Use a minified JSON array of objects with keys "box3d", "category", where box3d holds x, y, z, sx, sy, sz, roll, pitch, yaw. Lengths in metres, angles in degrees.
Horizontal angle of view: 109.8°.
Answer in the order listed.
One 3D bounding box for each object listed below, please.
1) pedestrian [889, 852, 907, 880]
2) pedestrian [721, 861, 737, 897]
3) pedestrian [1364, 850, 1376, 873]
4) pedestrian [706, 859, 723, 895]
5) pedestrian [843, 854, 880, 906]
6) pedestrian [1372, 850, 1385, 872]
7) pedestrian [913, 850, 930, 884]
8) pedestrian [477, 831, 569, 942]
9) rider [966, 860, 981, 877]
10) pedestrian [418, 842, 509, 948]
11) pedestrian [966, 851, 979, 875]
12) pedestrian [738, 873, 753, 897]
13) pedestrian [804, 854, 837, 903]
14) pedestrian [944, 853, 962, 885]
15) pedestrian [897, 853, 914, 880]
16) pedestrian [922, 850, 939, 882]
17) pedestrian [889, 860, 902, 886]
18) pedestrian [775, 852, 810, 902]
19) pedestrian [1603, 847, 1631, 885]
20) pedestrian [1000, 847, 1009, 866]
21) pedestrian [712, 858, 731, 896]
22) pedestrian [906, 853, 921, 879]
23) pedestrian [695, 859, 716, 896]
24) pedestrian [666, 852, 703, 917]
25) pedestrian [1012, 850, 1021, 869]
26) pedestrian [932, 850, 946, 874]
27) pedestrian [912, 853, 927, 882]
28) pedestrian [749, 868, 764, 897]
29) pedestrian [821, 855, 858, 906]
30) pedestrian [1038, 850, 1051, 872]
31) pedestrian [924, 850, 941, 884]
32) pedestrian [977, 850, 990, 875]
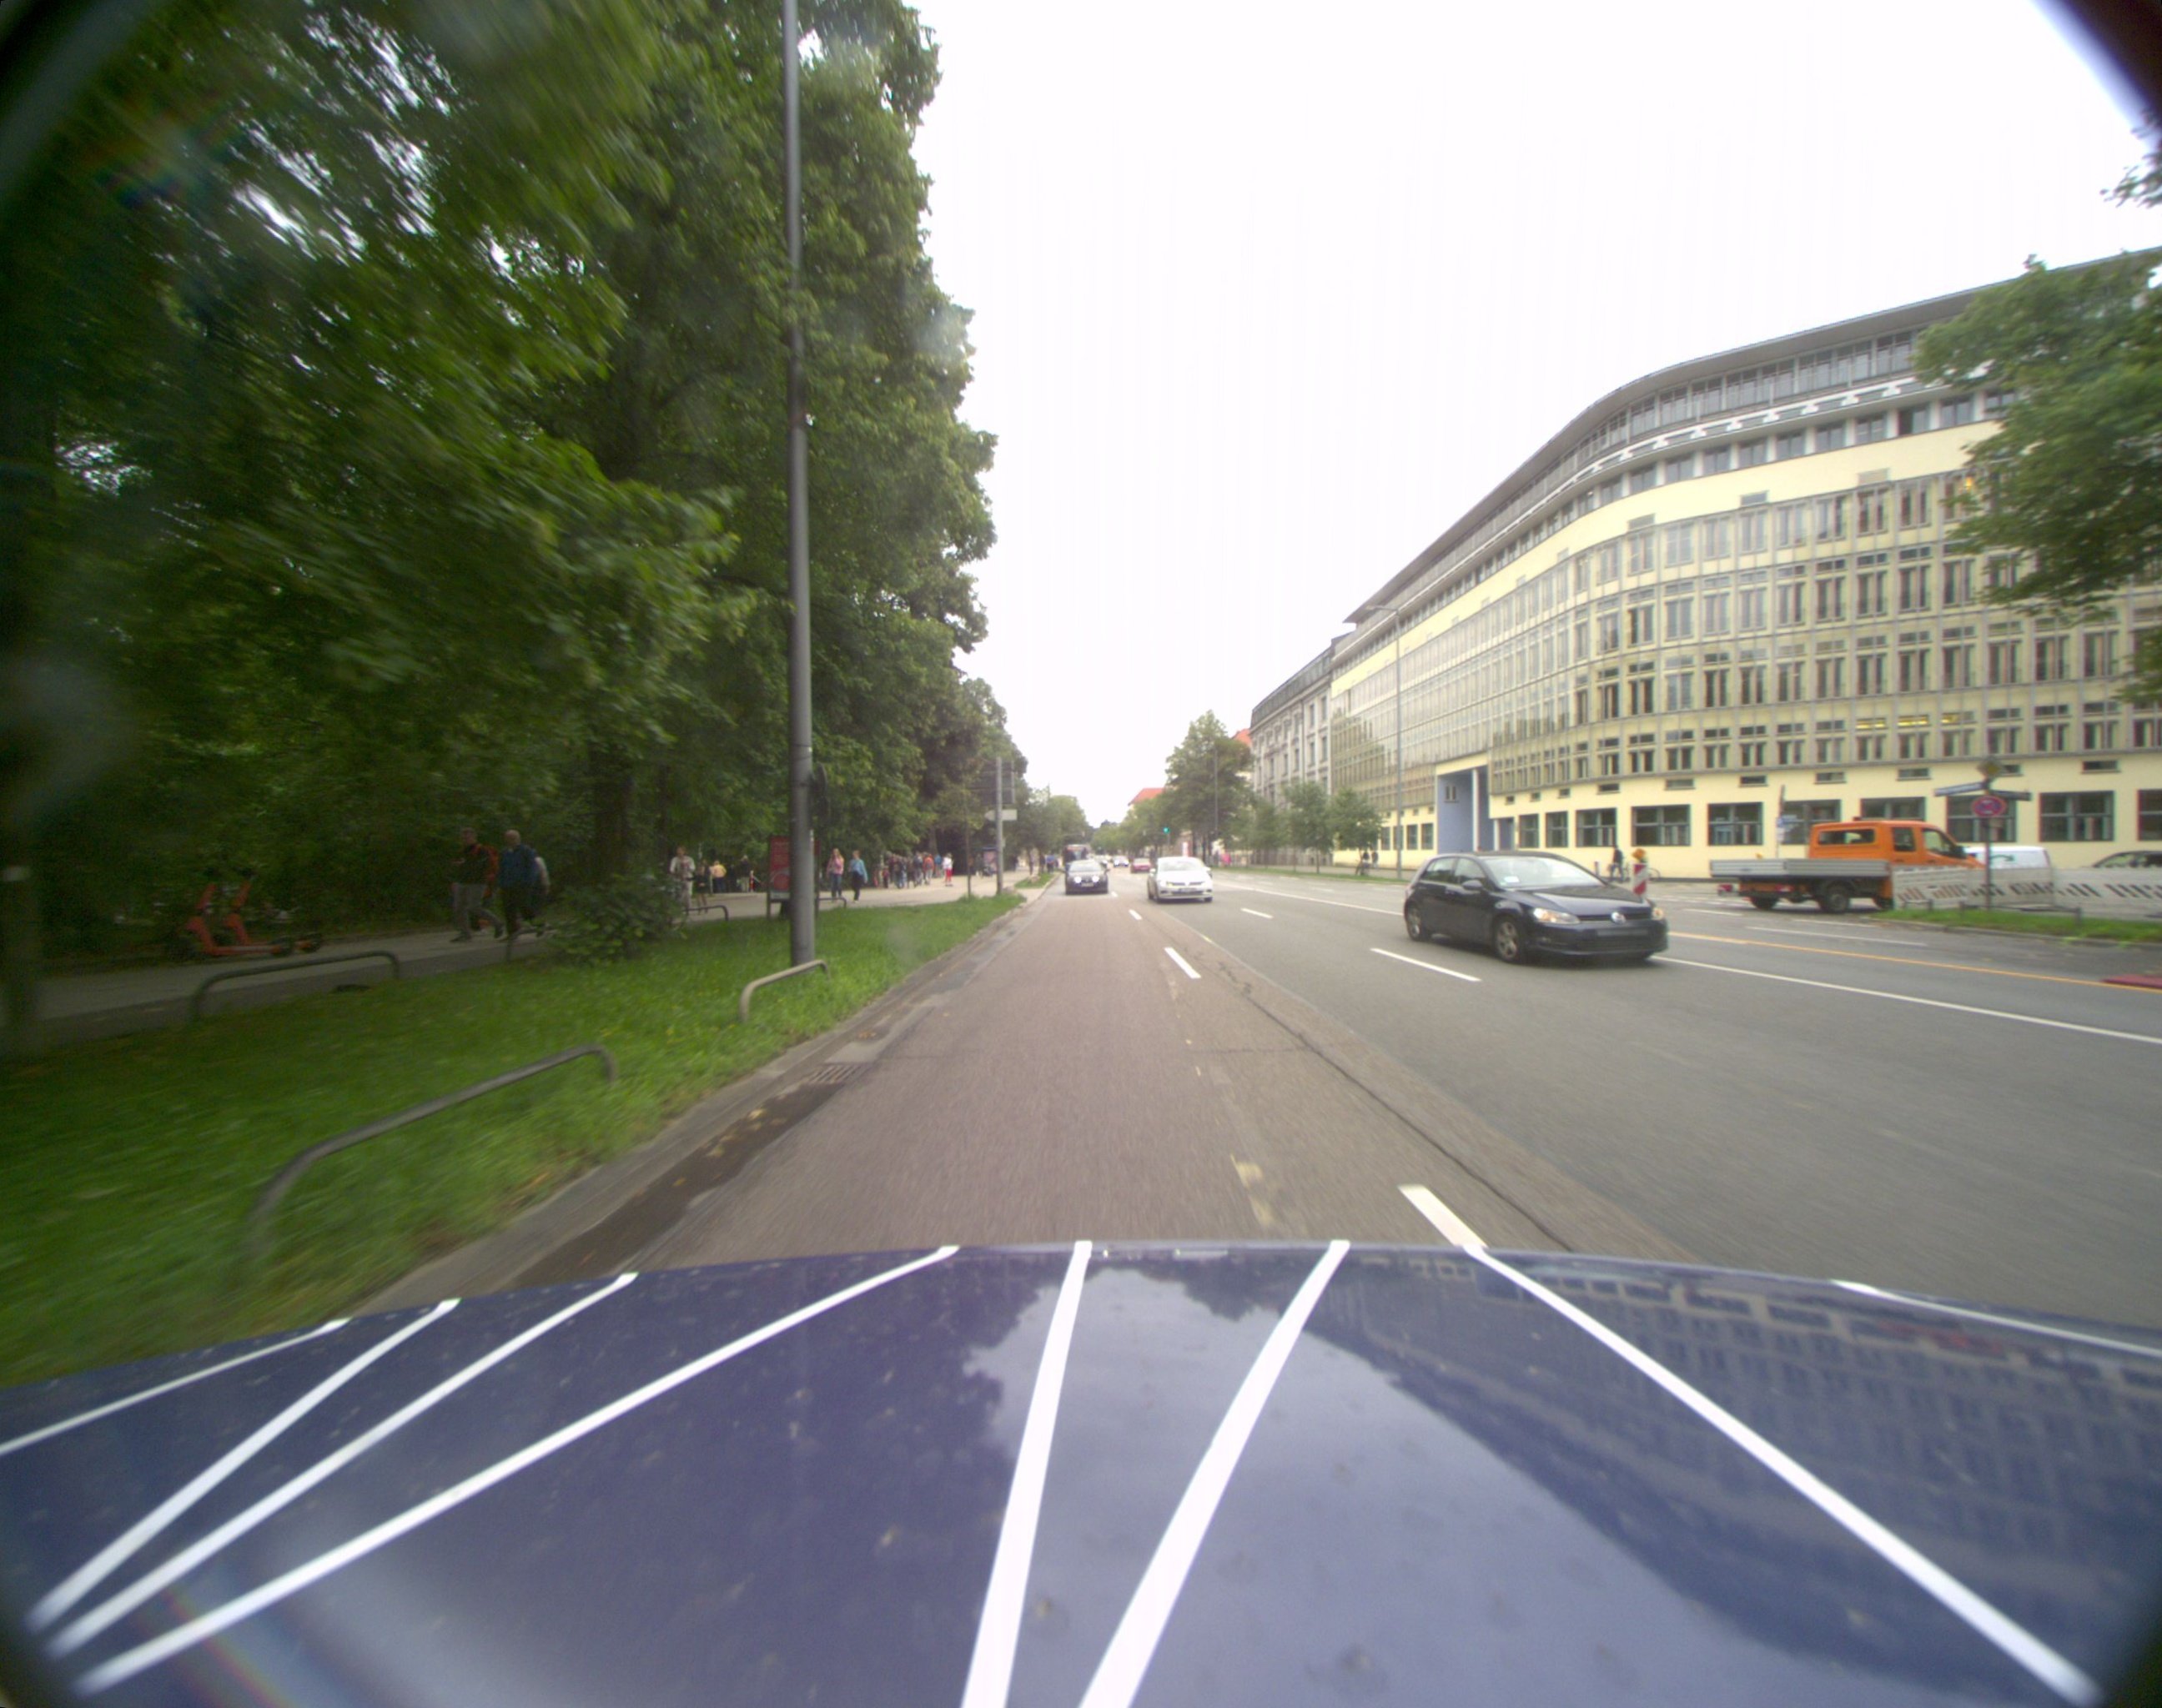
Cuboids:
[{"box3d":[-11.004,0.708,45.628,0.814,1.681,0.729,-2,1,2],"category":"pedestrian"},{"box3d":[-17.148,1.218,37.030,0.407,1.753,0.519,-2,1,22],"category":"pedestrian"},{"box3d":[23.249,0.603,61.066,0.617,1.766,0.836,-2,1,0],"category":"pedestrian"},{"box3d":[-17.848,1.121,37.004,0.526,1.753,0.437,-2,1,22],"category":"pedestrian"},{"box3d":[-7.106,0.828,24.616,0.755,1.634,0.851,-2,1,15],"category":"pedestrian"},{"box3d":[23.896,0.572,61.069,0.617,1.766,0.836,-2,1,0],"category":"pedestrian"},{"box3d":[-8.777,0.725,41.828,0.610,1.862,0.694,-2,1,16],"category":"pedestrian"},{"box3d":[-8.990,0.510,12.265,0.755,1.727,0.851,-2,1,15],"category":"pedestrian"},{"box3d":[-7.477,0.985,52.768,0.766,1.105,1.244,-2,0,5],"category":"rider"},{"box3d":[-10.384,0.671,12.808,0.755,1.727,0.851,-2,1,15],"category":"pedestrian"},{"box3d":[-7.513,0.623,52.619,0.728,1.681,0.648,-2,1,5],"category":"pedestrian"},{"box3d":[-17.236,1.604,39.043,0.407,1.191,0.519,-2,1,22],"category":"pedestrian"},{"box3d":[-8.804,0.818,25.730,0.755,1.634,0.651,-2,1,15],"category":"pedestrian"},{"box3d":[-6.717,0.787,39.925,0.728,1.681,0.648,-2,1,5],"category":"pedestrian"},{"box3d":[-10.950,0.776,47.404,0.814,1.681,0.729,-1,1,2],"category":"pedestrian"},{"box3d":[-8.819,0.688,44.550,0.610,1.862,0.694,-2,1,16],"category":"pedestrian"},{"box3d":[-9.665,0.978,39.578,0.459,1.319,0.648,-2,1,5],"category":"pedestrian"},{"box3d":[-9.524,0.751,25.107,0.755,1.634,0.691,-2,1,15],"category":"pedestrian"},{"box3d":[25.086,0.563,35.586,0.992,1.723,0.816,-2,1,30],"category":"pedestrian"},{"box3d":[-7.792,0.261,77.208,0.710,1.904,0.956,-2,1,0],"category":"pedestrian"},{"box3d":[-17.187,1.099,36.348,0.520,1.753,0.569,-2,1,31],"category":"pedestrian"},{"box3d":[-10.821,0.752,49.162,0.814,1.681,0.729,0,1,2],"category":"pedestrian"},{"box3d":[-17.967,1.126,36.376,0.610,1.753,0.552,-2,1,22],"category":"pedestrian"},{"box3d":[-9.665,0.737,18.516,0.485,1.557,0.573,-2,1,15],"category":"pedestrian"},{"box3d":[-6.548,0.540,76.929,0.710,1.904,0.956,-2,1,0],"category":"pedestrian"},{"box3d":[-10.496,0.582,56.008,0.814,1.757,0.729,-2,1,2],"category":"pedestrian"},{"box3d":[-10.924,0.925,51.445,0.814,1.905,0.729,-2,1,2],"category":"pedestrian"},{"box3d":[-16.740,1.450,39.141,0.407,1.465,0.519,-2,1,22],"category":"pedestrian"},{"box3d":[-7.950,0.857,25.042,0.755,1.634,0.851,-2,1,15],"category":"pedestrian"},{"box3d":[-3.127,0.581,65.055,0.804,1.870,0.545,-2,1,36],"category":"pedestrian"},{"box3d":[-8.306,0.713,42.431,0.610,1.903,0.694,-2,1,16],"category":"pedestrian"},{"box3d":[-6.739,0.579,52.563,0.728,1.681,0.648,-2,1,5],"category":"pedestrian"}]
